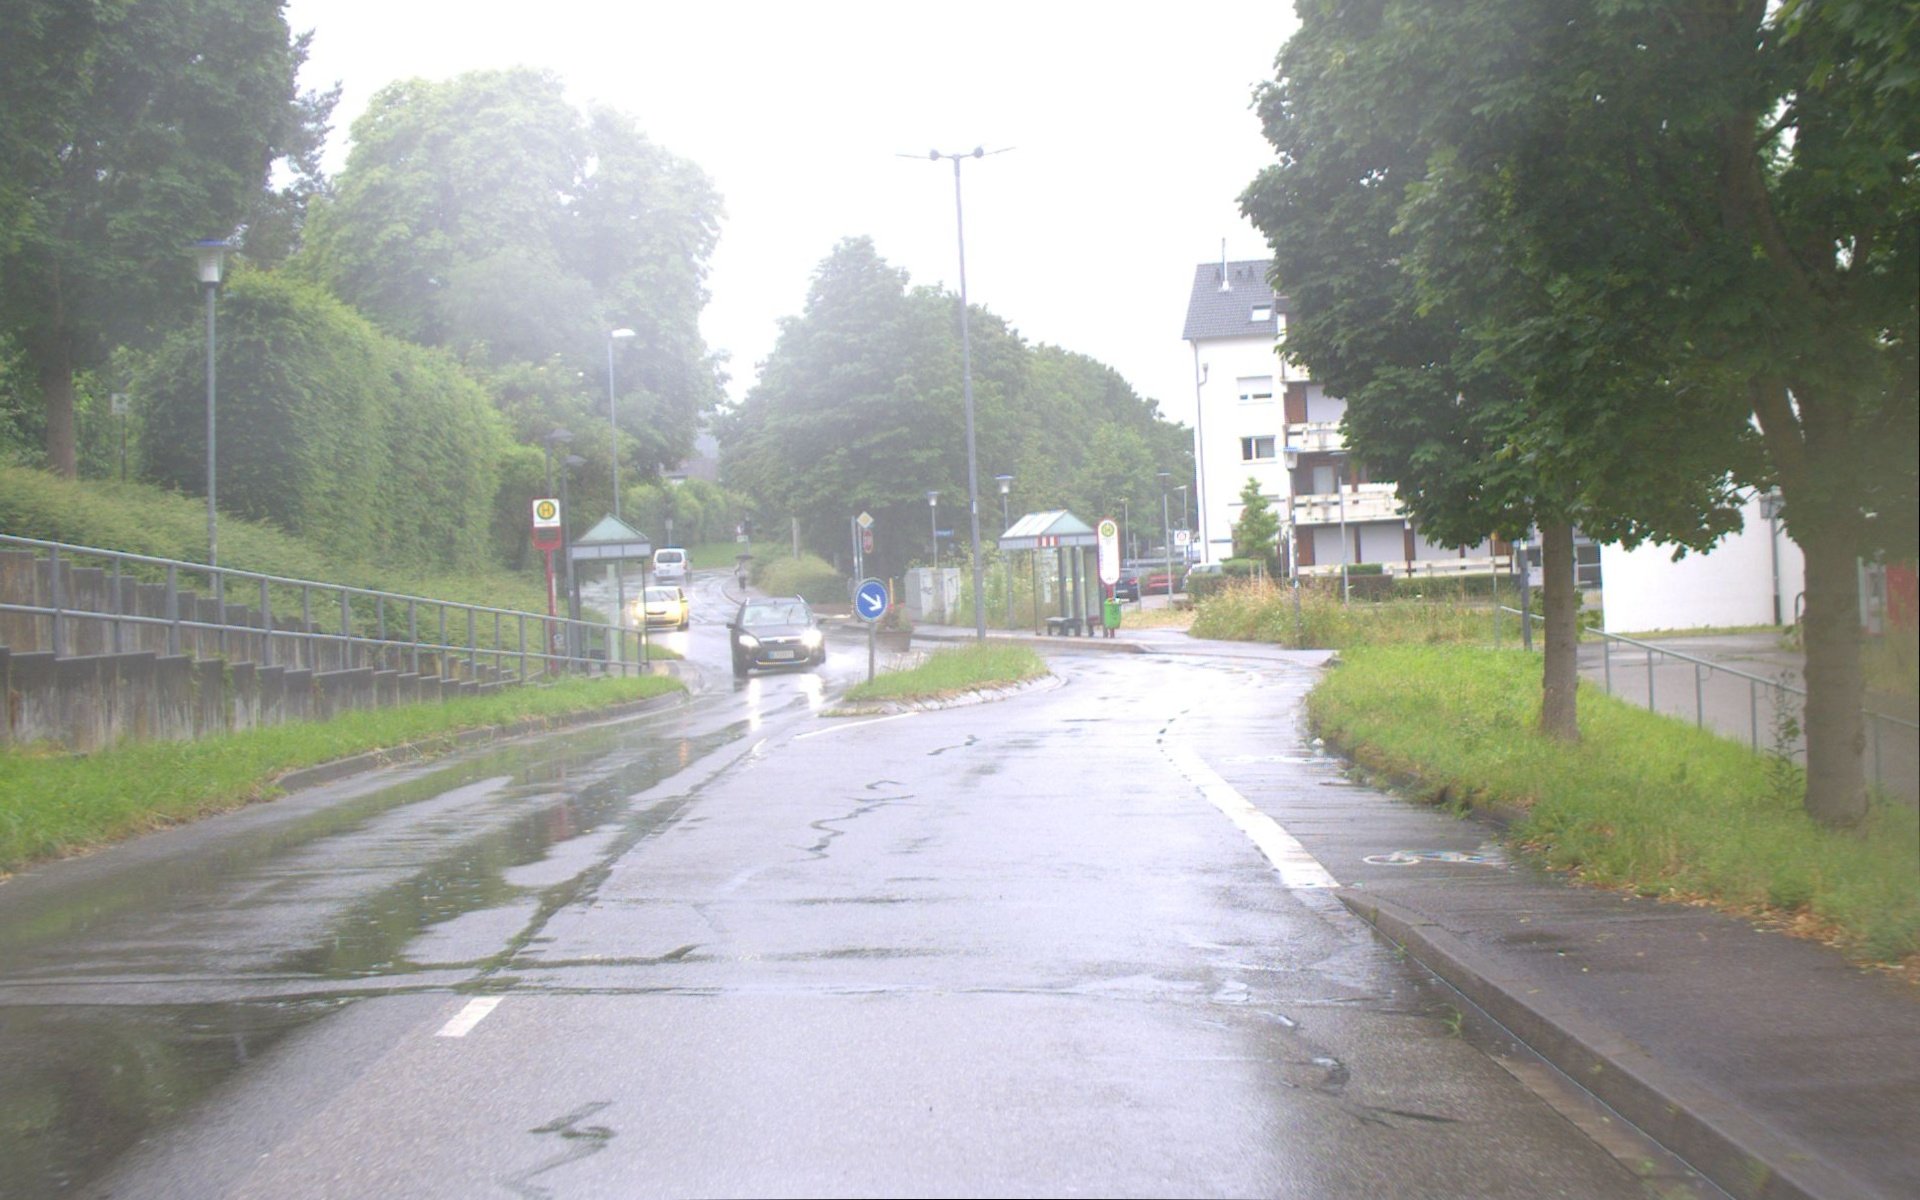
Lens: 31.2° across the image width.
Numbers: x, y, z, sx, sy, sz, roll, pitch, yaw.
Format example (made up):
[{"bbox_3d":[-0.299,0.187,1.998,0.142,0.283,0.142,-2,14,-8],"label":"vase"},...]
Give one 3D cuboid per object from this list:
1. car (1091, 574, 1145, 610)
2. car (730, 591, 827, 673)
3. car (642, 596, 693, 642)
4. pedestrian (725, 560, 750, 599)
[{"bbox_3d":[6.847,-0.371,149.438,1.688,1.433,3.613,-2,2,-7],"label":"car"},{"bbox_3d":[-3.599,0.629,68.720,1.760,1.498,4.141,-3,0,-2],"label":"car"},{"bbox_3d":[-9.851,0.626,115.634,1.572,1.405,3.474,-4,1,-5],"label":"car"},{"bbox_3d":[-9.953,-0.919,153.717,0.920,1.669,1.057,-4,2,-7],"label":"pedestrian"}]
